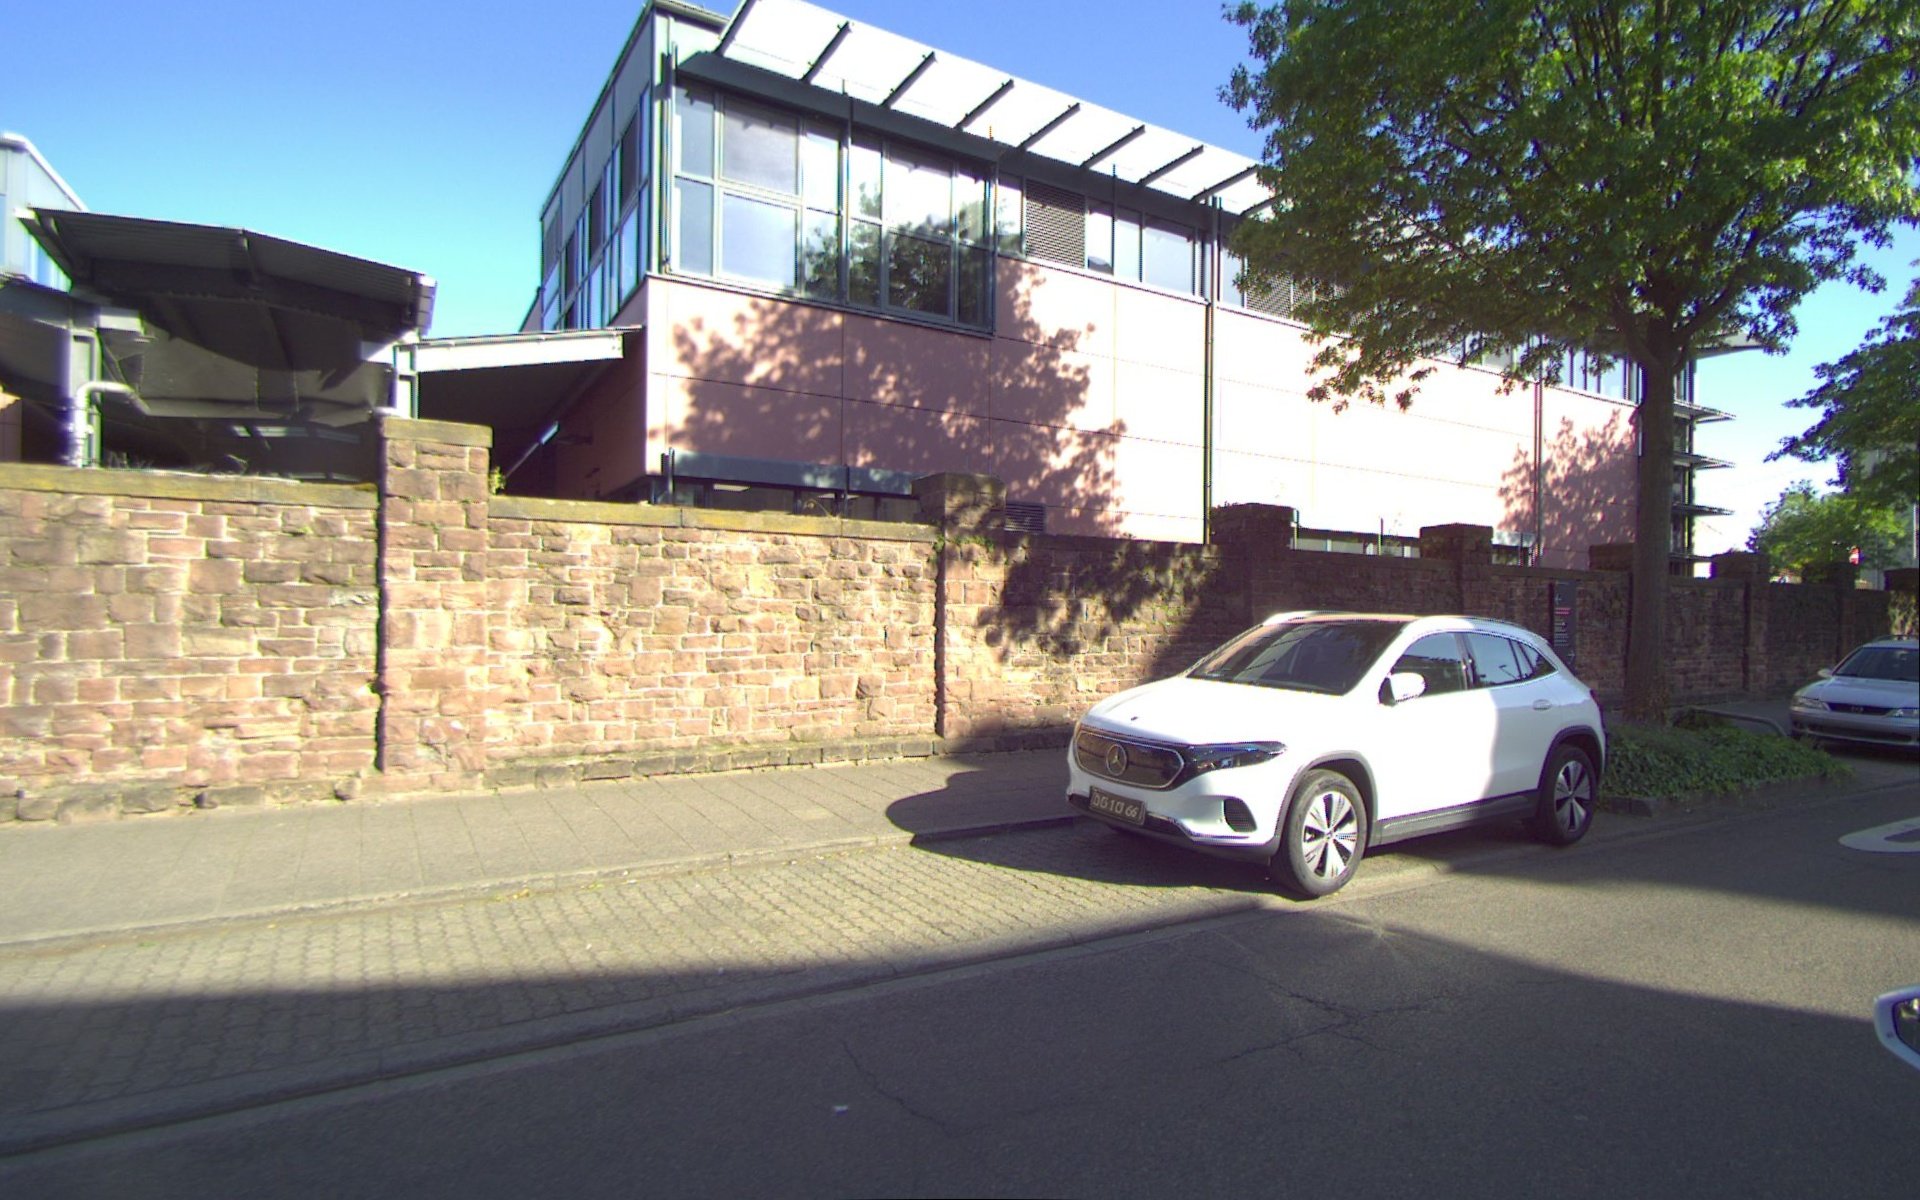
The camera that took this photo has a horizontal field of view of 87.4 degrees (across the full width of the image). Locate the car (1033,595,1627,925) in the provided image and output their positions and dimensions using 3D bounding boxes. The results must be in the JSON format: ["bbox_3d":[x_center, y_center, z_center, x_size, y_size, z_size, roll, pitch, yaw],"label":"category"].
[{"bbox_3d":[2.747,0.873,7.103,4.303,1.706,1.710,1,-1,-33],"label":"car"}]

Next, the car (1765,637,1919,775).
[{"bbox_3d":[12.543,1.273,13.150,4.427,1.495,1.717,1,1,-32],"label":"car"}]
